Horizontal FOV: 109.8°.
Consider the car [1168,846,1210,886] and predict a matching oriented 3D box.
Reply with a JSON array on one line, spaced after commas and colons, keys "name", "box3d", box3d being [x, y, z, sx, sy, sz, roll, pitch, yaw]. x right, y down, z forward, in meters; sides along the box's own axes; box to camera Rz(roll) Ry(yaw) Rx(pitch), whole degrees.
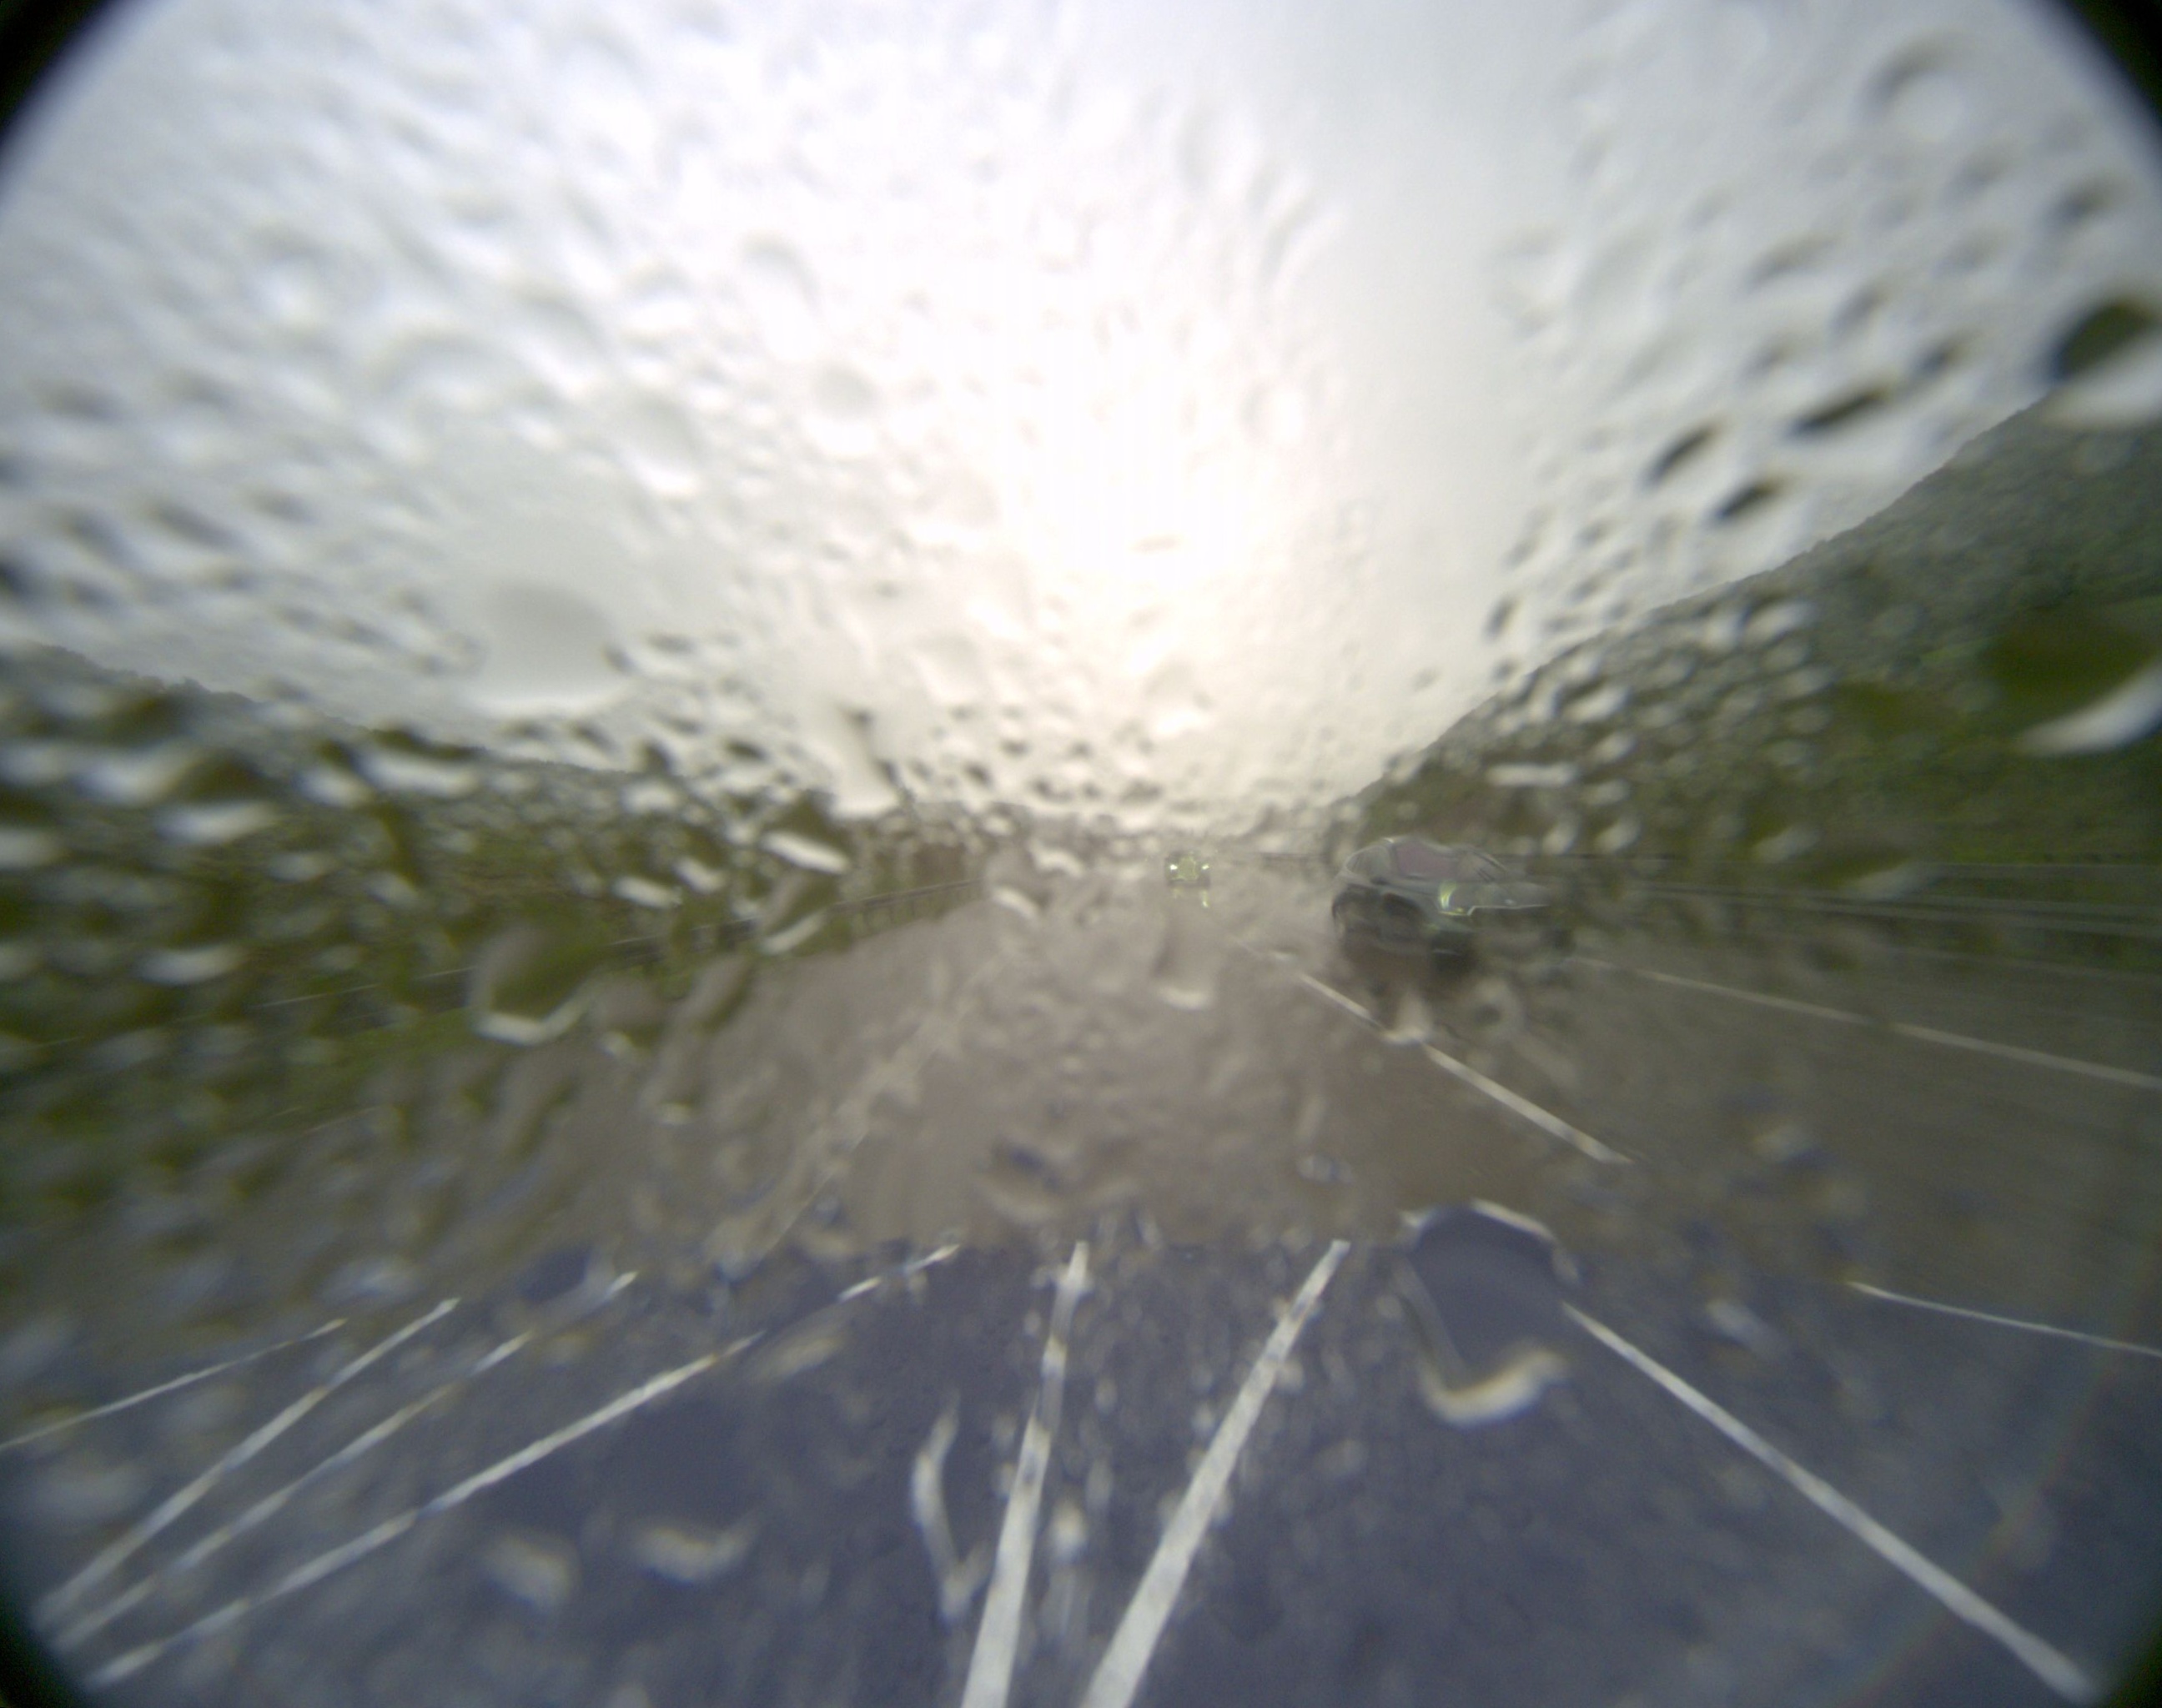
[{"name": "car", "box3d": [5.114, 0.531, 36.203, 1.813, 1.692, 3.750, -3, 1, 8]}]

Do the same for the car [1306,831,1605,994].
[{"name": "car", "box3d": [4.837, 0.605, 10.803, 1.998, 1.673, 4.909, -4, 1, 4]}]

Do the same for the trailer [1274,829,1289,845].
[{"name": "trailer", "box3d": [50.856, -4.269, 193.022, 2.818, 3.660, 13.256, -2, 1, 12]}]

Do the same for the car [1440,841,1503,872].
[{"name": "car", "box3d": [22.016, 0.110, 42.995, 1.710, 1.638, 4.001, -2, 1, 4]}]

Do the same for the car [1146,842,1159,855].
[{"name": "car", "box3d": [11.627, -0.806, 124.241, 1.998, 2.001, 4.002, -2, -1, 4]}]

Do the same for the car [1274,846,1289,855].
[{"name": "car", "box3d": [32.589, -0.618, 123.674, 1.797, 1.412, 3.777, -2, 0, 6]}]

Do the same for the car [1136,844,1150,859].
[{"name": "car", "box3d": [8.567, -0.361, 105.142, 1.835, 2.002, 3.939, -4, 1, 4]}]
